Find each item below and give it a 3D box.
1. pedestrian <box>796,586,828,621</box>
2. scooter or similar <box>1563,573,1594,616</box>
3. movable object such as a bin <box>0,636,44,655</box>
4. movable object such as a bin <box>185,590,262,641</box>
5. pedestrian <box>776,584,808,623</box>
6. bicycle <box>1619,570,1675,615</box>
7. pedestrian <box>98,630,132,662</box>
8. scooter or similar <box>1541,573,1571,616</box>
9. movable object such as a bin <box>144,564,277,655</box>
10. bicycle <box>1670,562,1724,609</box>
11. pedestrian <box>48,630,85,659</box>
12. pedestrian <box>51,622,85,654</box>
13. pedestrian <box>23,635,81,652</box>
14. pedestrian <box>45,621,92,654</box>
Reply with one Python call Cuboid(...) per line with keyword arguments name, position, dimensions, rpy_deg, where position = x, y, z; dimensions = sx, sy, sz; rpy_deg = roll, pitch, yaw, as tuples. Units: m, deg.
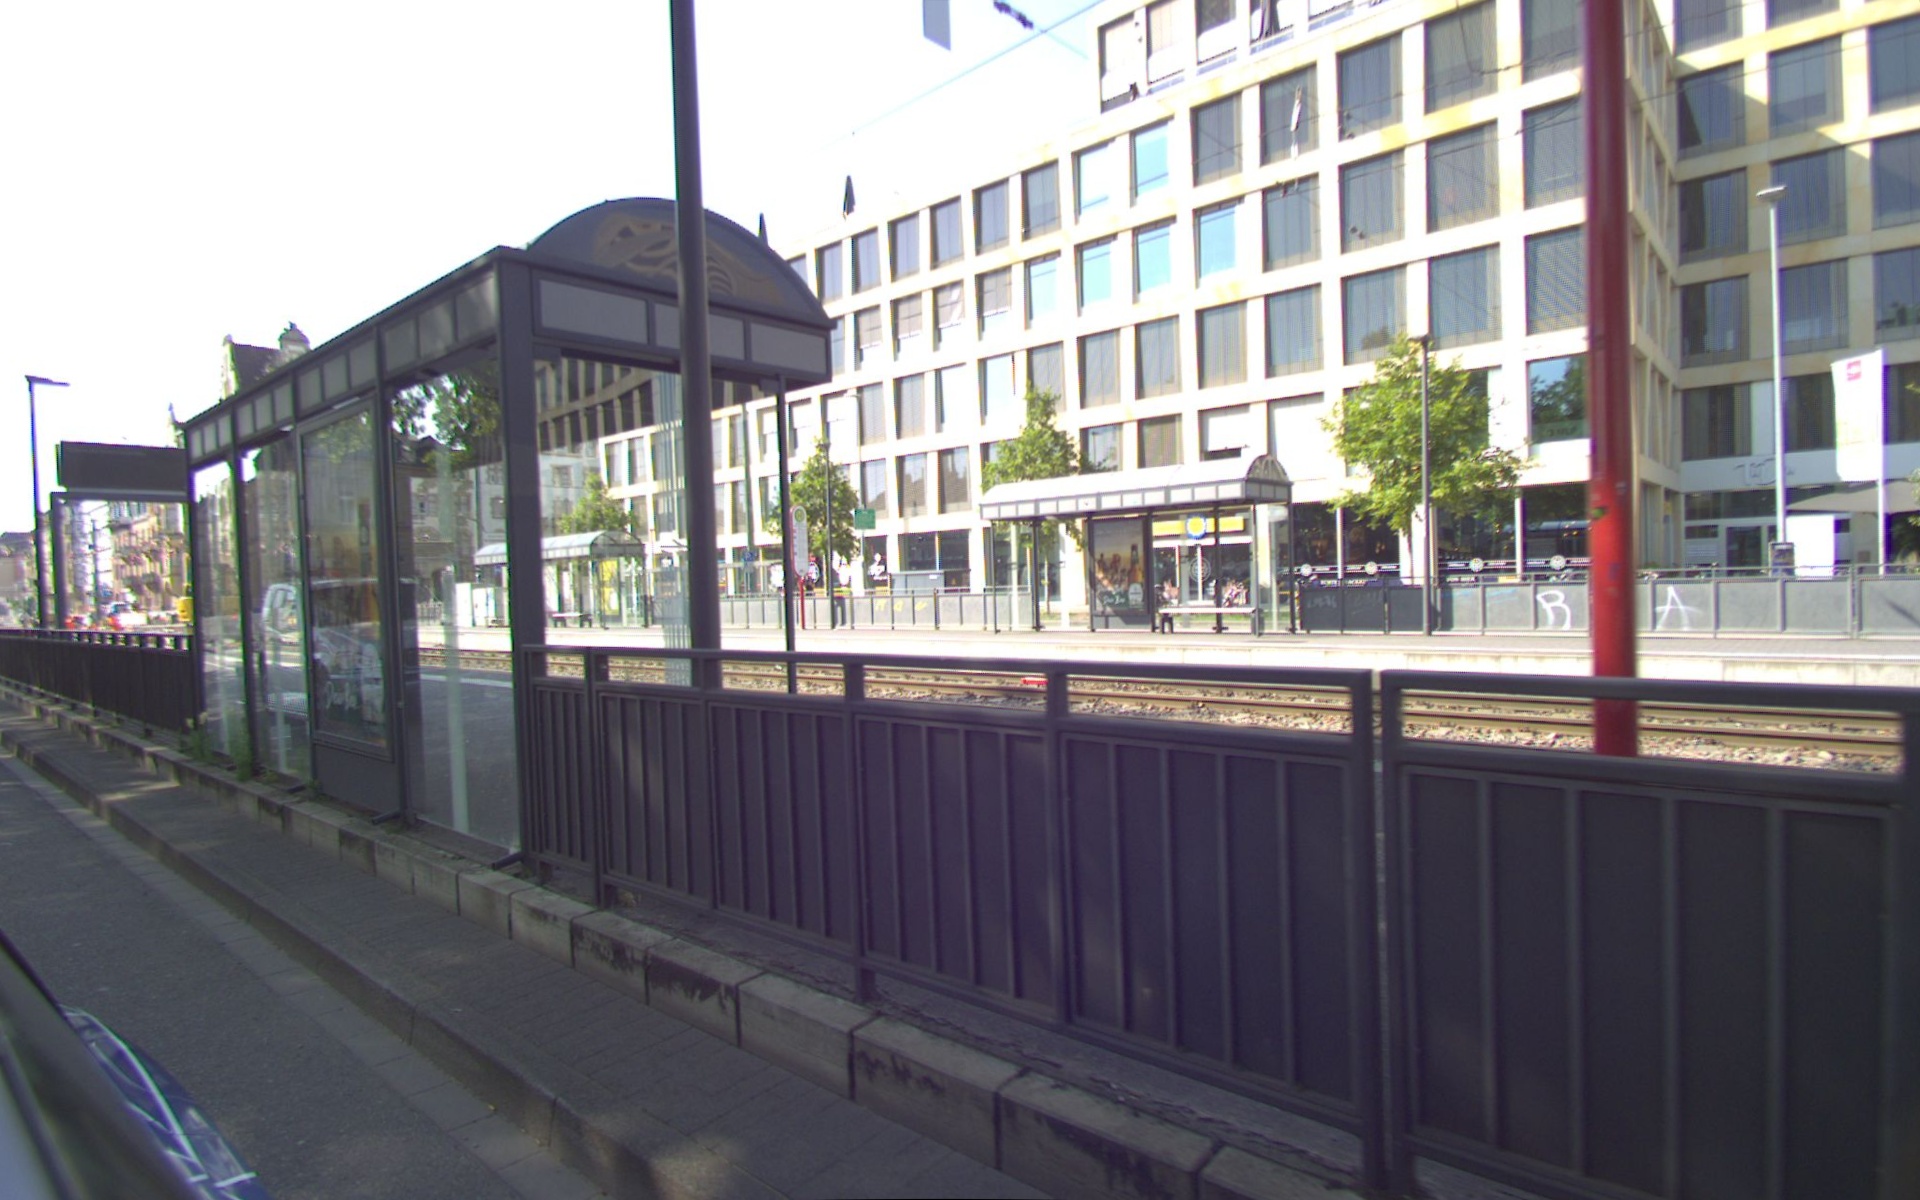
Cuboid(name="pedestrian", position=(-7.121, 0.180, 48.656), dimensions=(1.123, 1.609, 0.966), rpy_deg=(-2, 1, 41))
Cuboid(name="scooter or similar", position=(15.023, -0.149, 24.560), dimensions=(0.395, 0.993, 1.507), rpy_deg=(-2, 1, 40))
Cuboid(name="movable object such as a bin", position=(-38.262, 1.848, 41.052), dimensions=(1.484, 0.657, 0.703), rpy_deg=(-3, 0, -28))
Cuboid(name="movable object such as a bin", position=(-51.909, 1.102, 71.213), dimensions=(8.346, 3.355, 2.815), rpy_deg=(-1, 1, 43))
Cuboid(name="pedestrian", position=(-7.963, 0.162, 48.015), dimensions=(1.123, 1.765, 0.966), rpy_deg=(-2, 1, 41))
Cuboid(name="bicycle", position=(16.099, -0.190, 23.685), dimensions=(0.821, 0.993, 2.409), rpy_deg=(-2, 1, 40))
Cuboid(name="pedestrian", position=(-36.119, 1.963, 43.249), dimensions=(0.983, 1.316, 1.003), rpy_deg=(-2, 0, 45))
Cuboid(name="scooter or similar", position=(14.690, -0.144, 24.936), dimensions=(0.371, 0.993, 1.486), rpy_deg=(-2, 1, 40))
Cuboid(name="movable object such as a bin", position=(-37.269, 0.449, 50.774), dimensions=(3.454, 4.043, 9.071), rpy_deg=(-2, 0, -25))
Cuboid(name="bicycle", position=(16.865, -0.345, 23.146), dimensions=(0.821, 0.993, 2.409), rpy_deg=(-2, 1, 40))
Cuboid(name="pedestrian", position=(-39.197, 1.948, 44.416), dimensions=(0.968, 1.199, 0.801), rpy_deg=(-2, 0, -24))
Cuboid(name="pedestrian", position=(-37.609, 1.592, 42.690), dimensions=(0.826, 1.316, 0.801), rpy_deg=(-2, 0, -24))
Cuboid(name="pedestrian", position=(-40.948, 1.951, 45.648), dimensions=(0.913, 0.641, 1.880), rpy_deg=(-2, 1, 45))
Cuboid(name="pedestrian", position=(-38.240, 1.597, 43.413), dimensions=(1.293, 1.316, 0.801), rpy_deg=(-2, 0, -24))
